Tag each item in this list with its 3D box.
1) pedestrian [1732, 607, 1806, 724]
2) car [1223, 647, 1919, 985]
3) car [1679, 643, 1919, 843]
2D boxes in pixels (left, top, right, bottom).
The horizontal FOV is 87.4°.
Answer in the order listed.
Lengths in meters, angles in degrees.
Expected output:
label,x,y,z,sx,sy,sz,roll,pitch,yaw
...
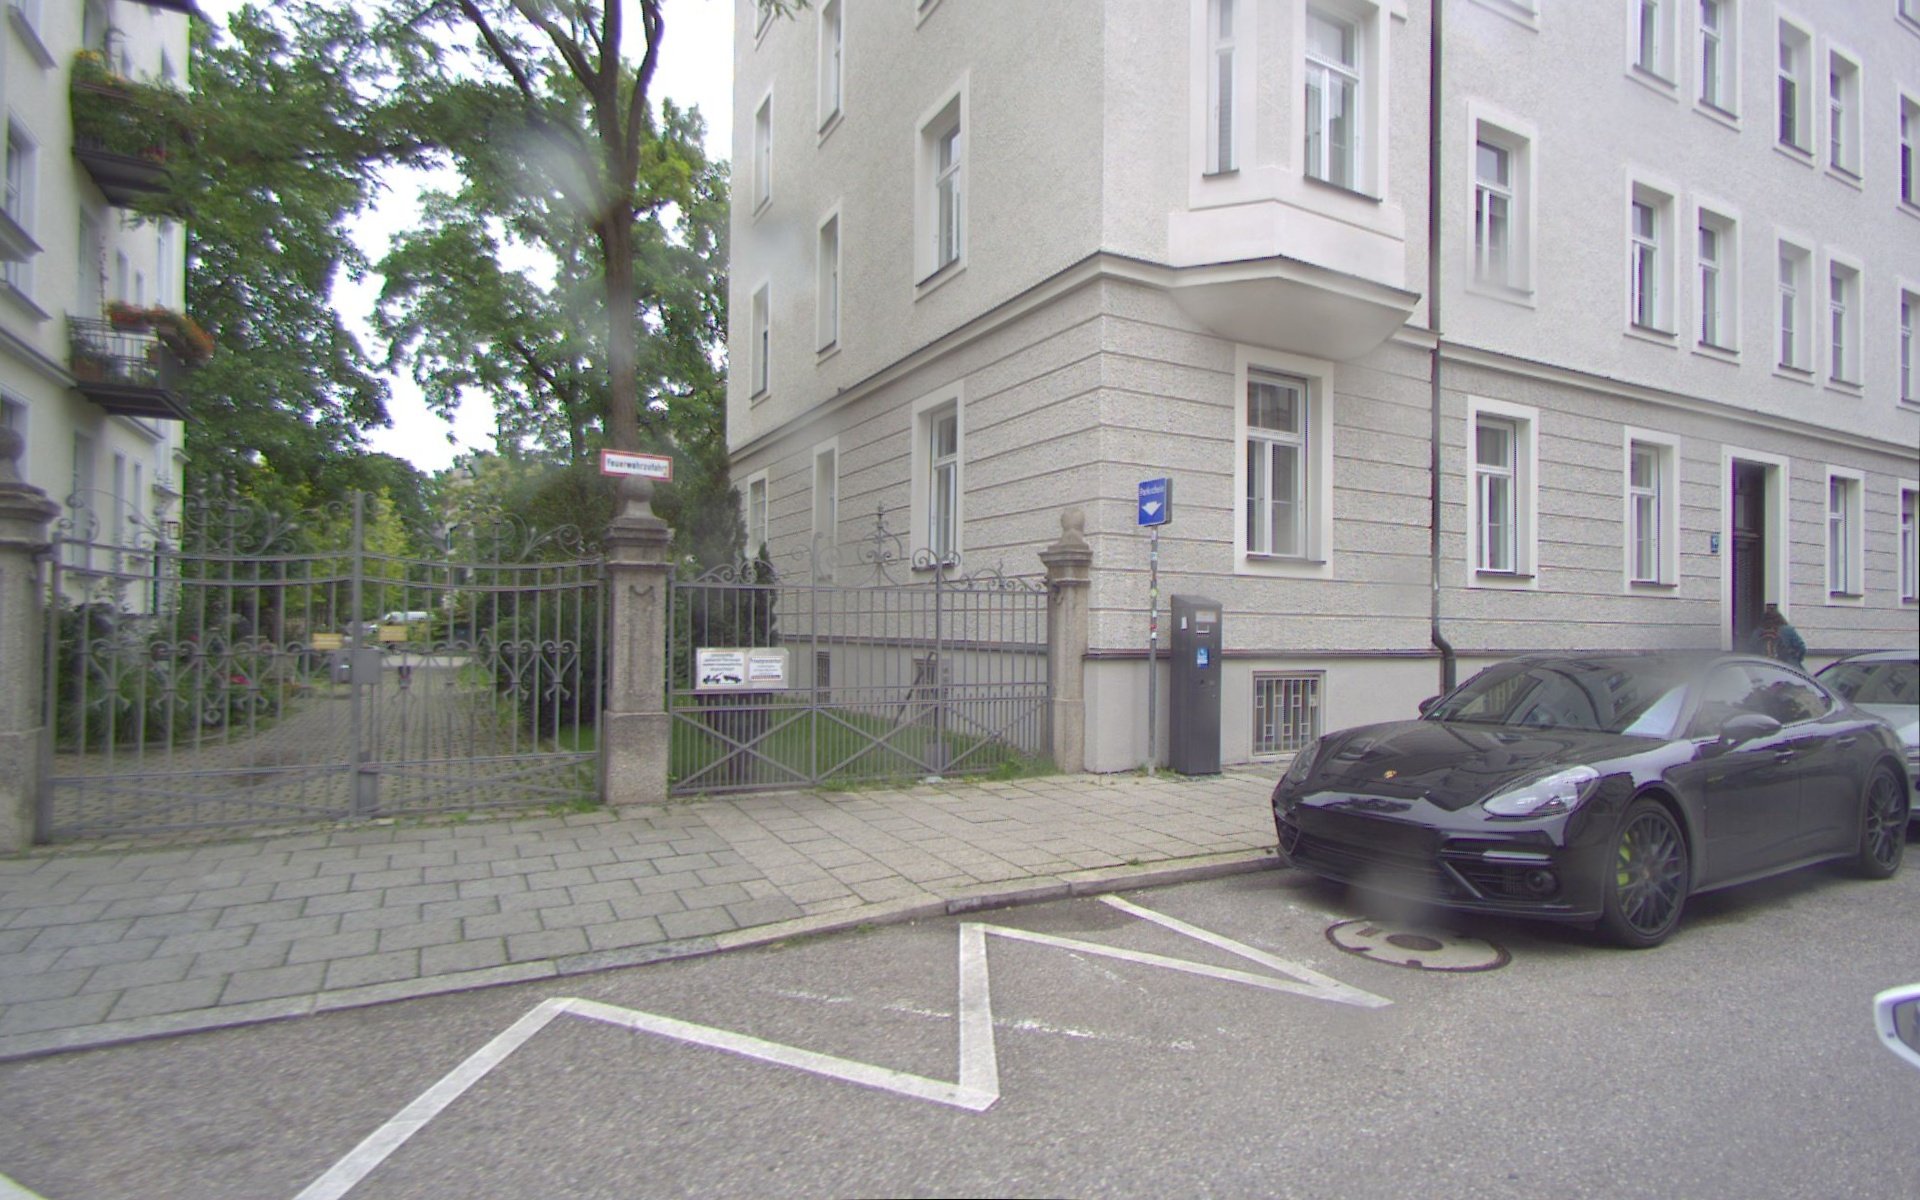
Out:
label,x,y,z,sx,sy,sz,roll,pitch,yaw
pedestrian,12.328,0.983,15.312,0.657,1.729,0.694,1,-1,-30
car,4.001,1.017,6.288,4.647,1.385,1.841,1,-2,-30
car,8.609,1.140,8.928,4.454,1.438,1.788,2,-5,-28
